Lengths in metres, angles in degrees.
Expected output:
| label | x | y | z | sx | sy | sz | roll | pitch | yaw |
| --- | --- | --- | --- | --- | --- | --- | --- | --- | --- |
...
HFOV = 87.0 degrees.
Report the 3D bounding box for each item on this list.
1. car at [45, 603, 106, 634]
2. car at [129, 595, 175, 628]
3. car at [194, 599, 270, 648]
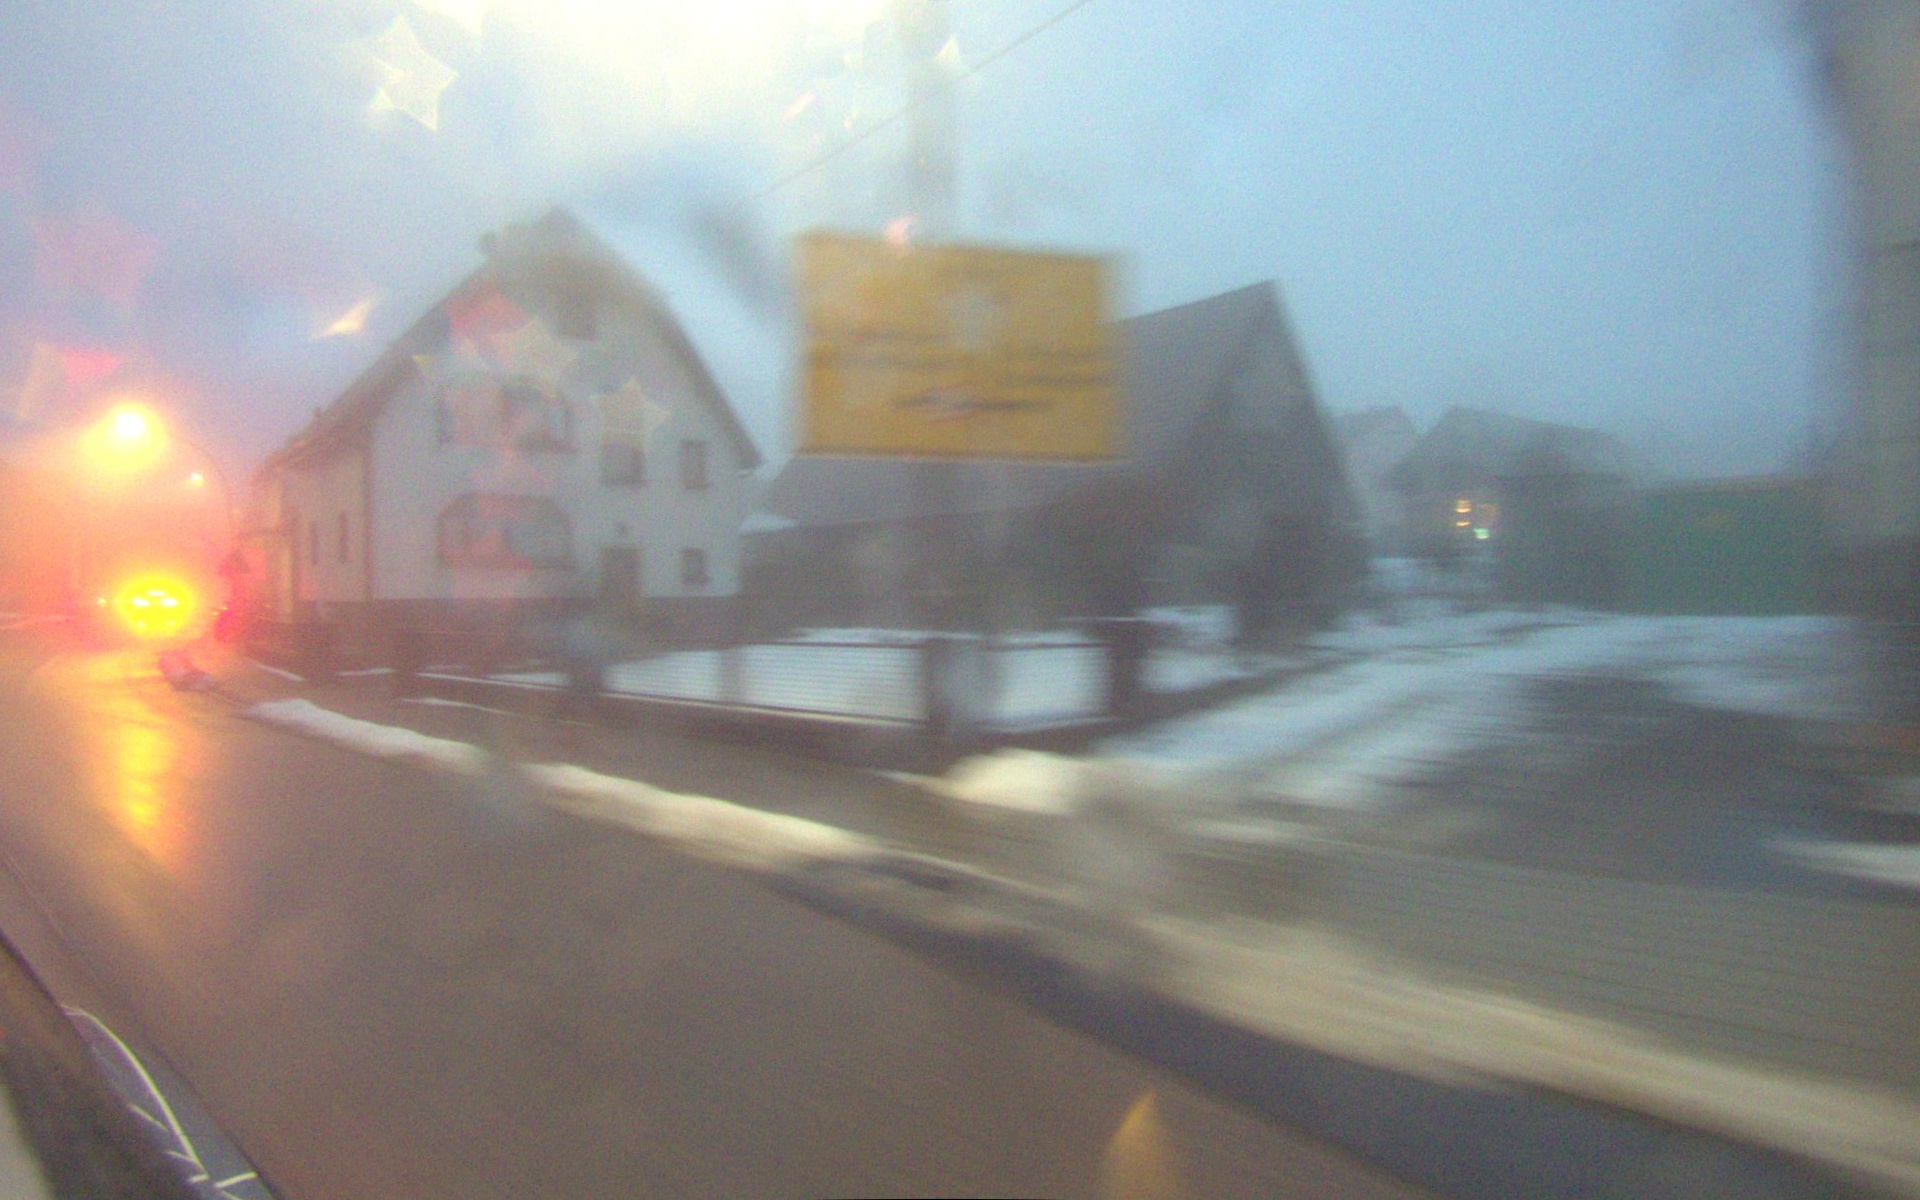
| label | x | y | z | sx | sy | sz | roll | pitch | yaw |
| --- | --- | --- | --- | --- | --- | --- | --- | --- | --- |
| car | -49.933 | 1.019 | 57.190 | 1.884 | 1.492 | 4.295 | -1 | 2 | -32 |
| car | -44.377 | 0.636 | 55.663 | 1.816 | 1.700 | 4.488 | -1 | 0 | -37 |
| car | -25.880 | 0.795 | 35.919 | 1.968 | 1.534 | 4.199 | -4 | 2 | -38 |
